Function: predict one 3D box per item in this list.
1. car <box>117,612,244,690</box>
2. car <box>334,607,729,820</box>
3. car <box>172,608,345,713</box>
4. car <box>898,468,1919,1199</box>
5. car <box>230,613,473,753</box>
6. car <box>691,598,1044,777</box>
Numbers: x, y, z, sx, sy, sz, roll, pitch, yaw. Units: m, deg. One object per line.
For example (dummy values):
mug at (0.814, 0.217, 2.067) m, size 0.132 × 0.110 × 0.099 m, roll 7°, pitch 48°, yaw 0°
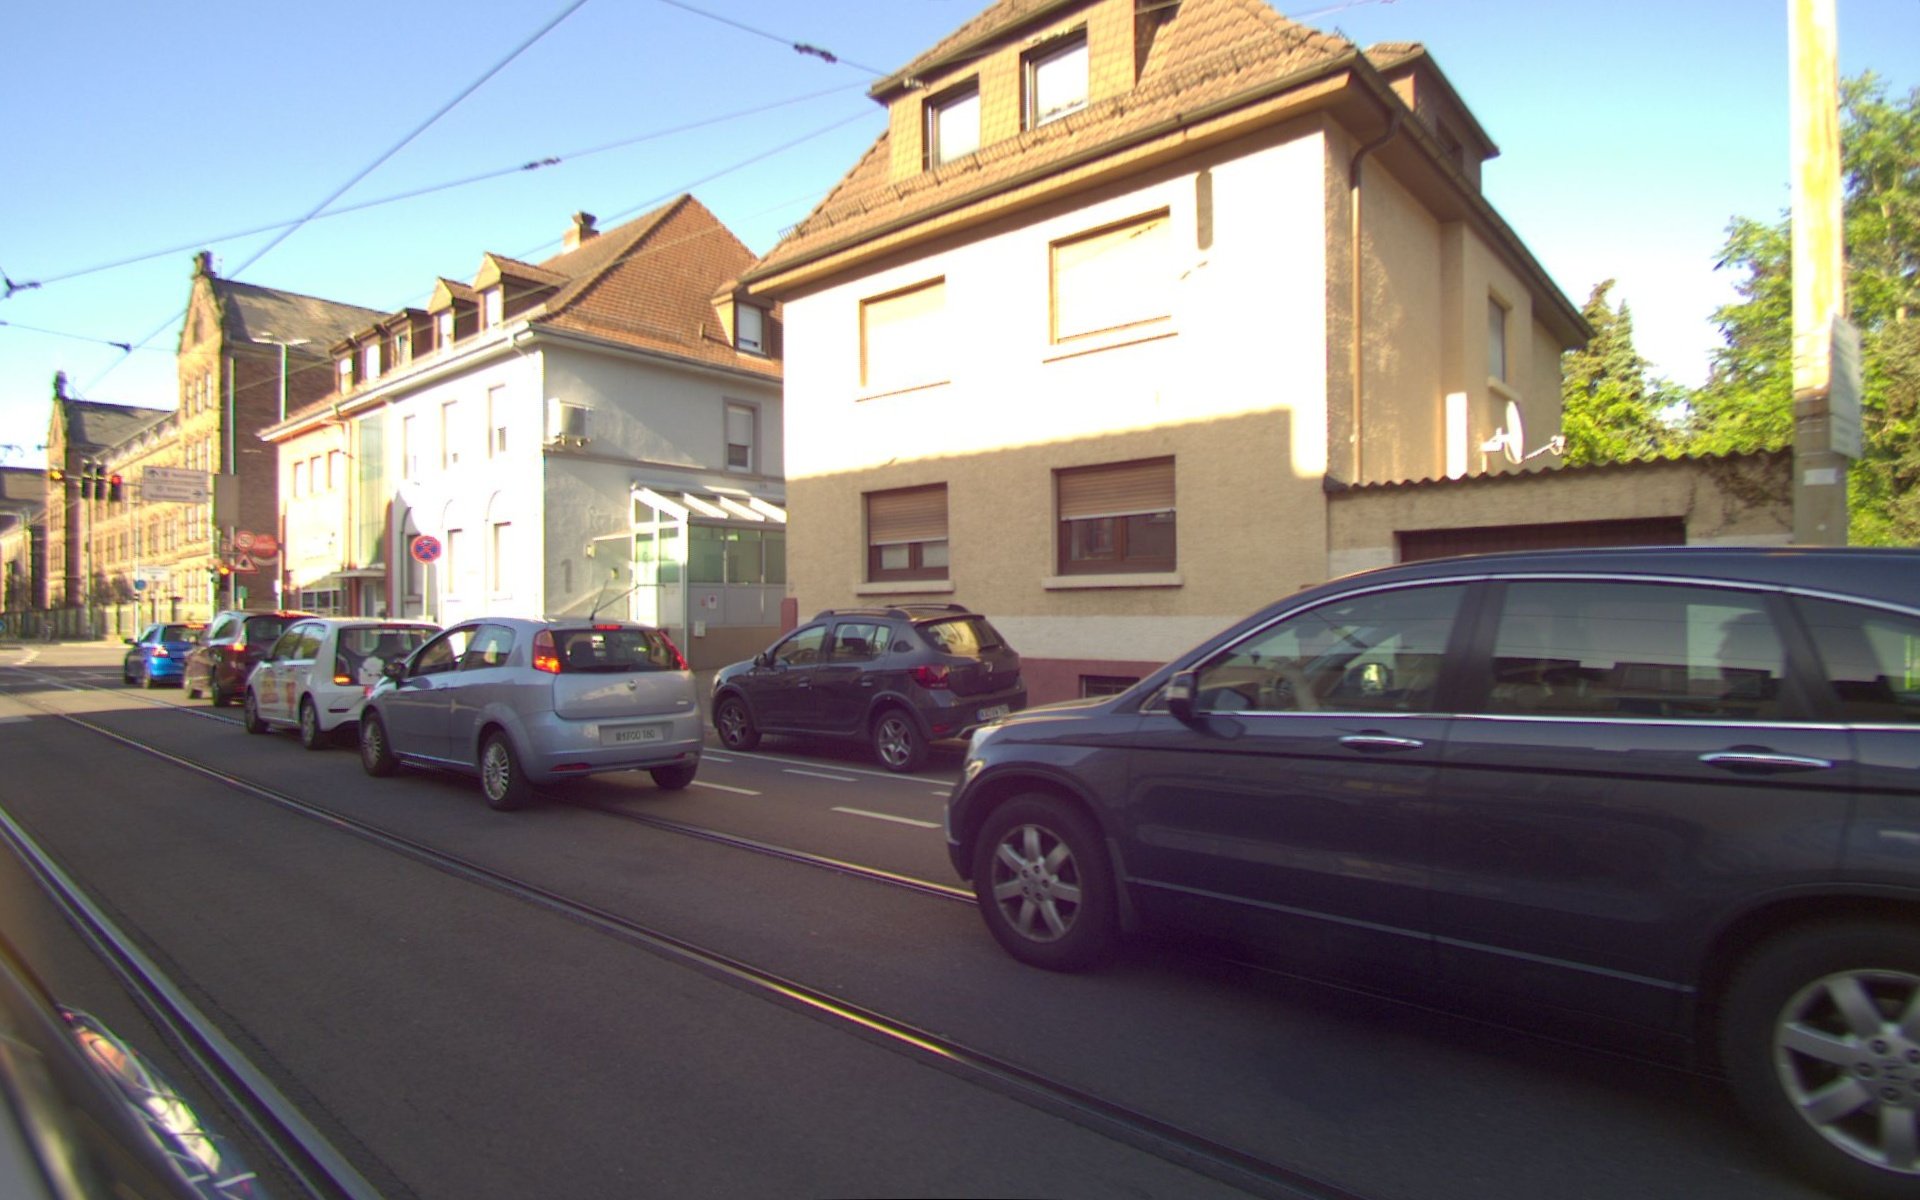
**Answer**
car at (-17.413, 1.103, 22.555) m, size 3.930 × 1.579 × 1.665 m, roll -2°, pitch -4°, yaw 44°
car at (-3.935, 0.834, 8.966) m, size 4.073 × 1.472 × 1.600 m, roll -1°, pitch -2°, yaw 41°
car at (-12.563, 0.994, 17.997) m, size 1.718 × 1.623 × 4.717 m, roll 2°, pitch -3°, yaw -45°
car at (1.915, 0.592, 3.705) m, size 4.362 × 1.718 × 1.686 m, roll -1°, pitch -2°, yaw 41°
car at (-7.558, 0.918, 12.448) m, size 3.613 × 1.472 × 1.565 m, roll -1°, pitch -2°, yaw 42°
car at (-1.130, 0.848, 11.151) m, size 3.919 × 1.640 × 1.599 m, roll -1°, pitch -2°, yaw 40°
